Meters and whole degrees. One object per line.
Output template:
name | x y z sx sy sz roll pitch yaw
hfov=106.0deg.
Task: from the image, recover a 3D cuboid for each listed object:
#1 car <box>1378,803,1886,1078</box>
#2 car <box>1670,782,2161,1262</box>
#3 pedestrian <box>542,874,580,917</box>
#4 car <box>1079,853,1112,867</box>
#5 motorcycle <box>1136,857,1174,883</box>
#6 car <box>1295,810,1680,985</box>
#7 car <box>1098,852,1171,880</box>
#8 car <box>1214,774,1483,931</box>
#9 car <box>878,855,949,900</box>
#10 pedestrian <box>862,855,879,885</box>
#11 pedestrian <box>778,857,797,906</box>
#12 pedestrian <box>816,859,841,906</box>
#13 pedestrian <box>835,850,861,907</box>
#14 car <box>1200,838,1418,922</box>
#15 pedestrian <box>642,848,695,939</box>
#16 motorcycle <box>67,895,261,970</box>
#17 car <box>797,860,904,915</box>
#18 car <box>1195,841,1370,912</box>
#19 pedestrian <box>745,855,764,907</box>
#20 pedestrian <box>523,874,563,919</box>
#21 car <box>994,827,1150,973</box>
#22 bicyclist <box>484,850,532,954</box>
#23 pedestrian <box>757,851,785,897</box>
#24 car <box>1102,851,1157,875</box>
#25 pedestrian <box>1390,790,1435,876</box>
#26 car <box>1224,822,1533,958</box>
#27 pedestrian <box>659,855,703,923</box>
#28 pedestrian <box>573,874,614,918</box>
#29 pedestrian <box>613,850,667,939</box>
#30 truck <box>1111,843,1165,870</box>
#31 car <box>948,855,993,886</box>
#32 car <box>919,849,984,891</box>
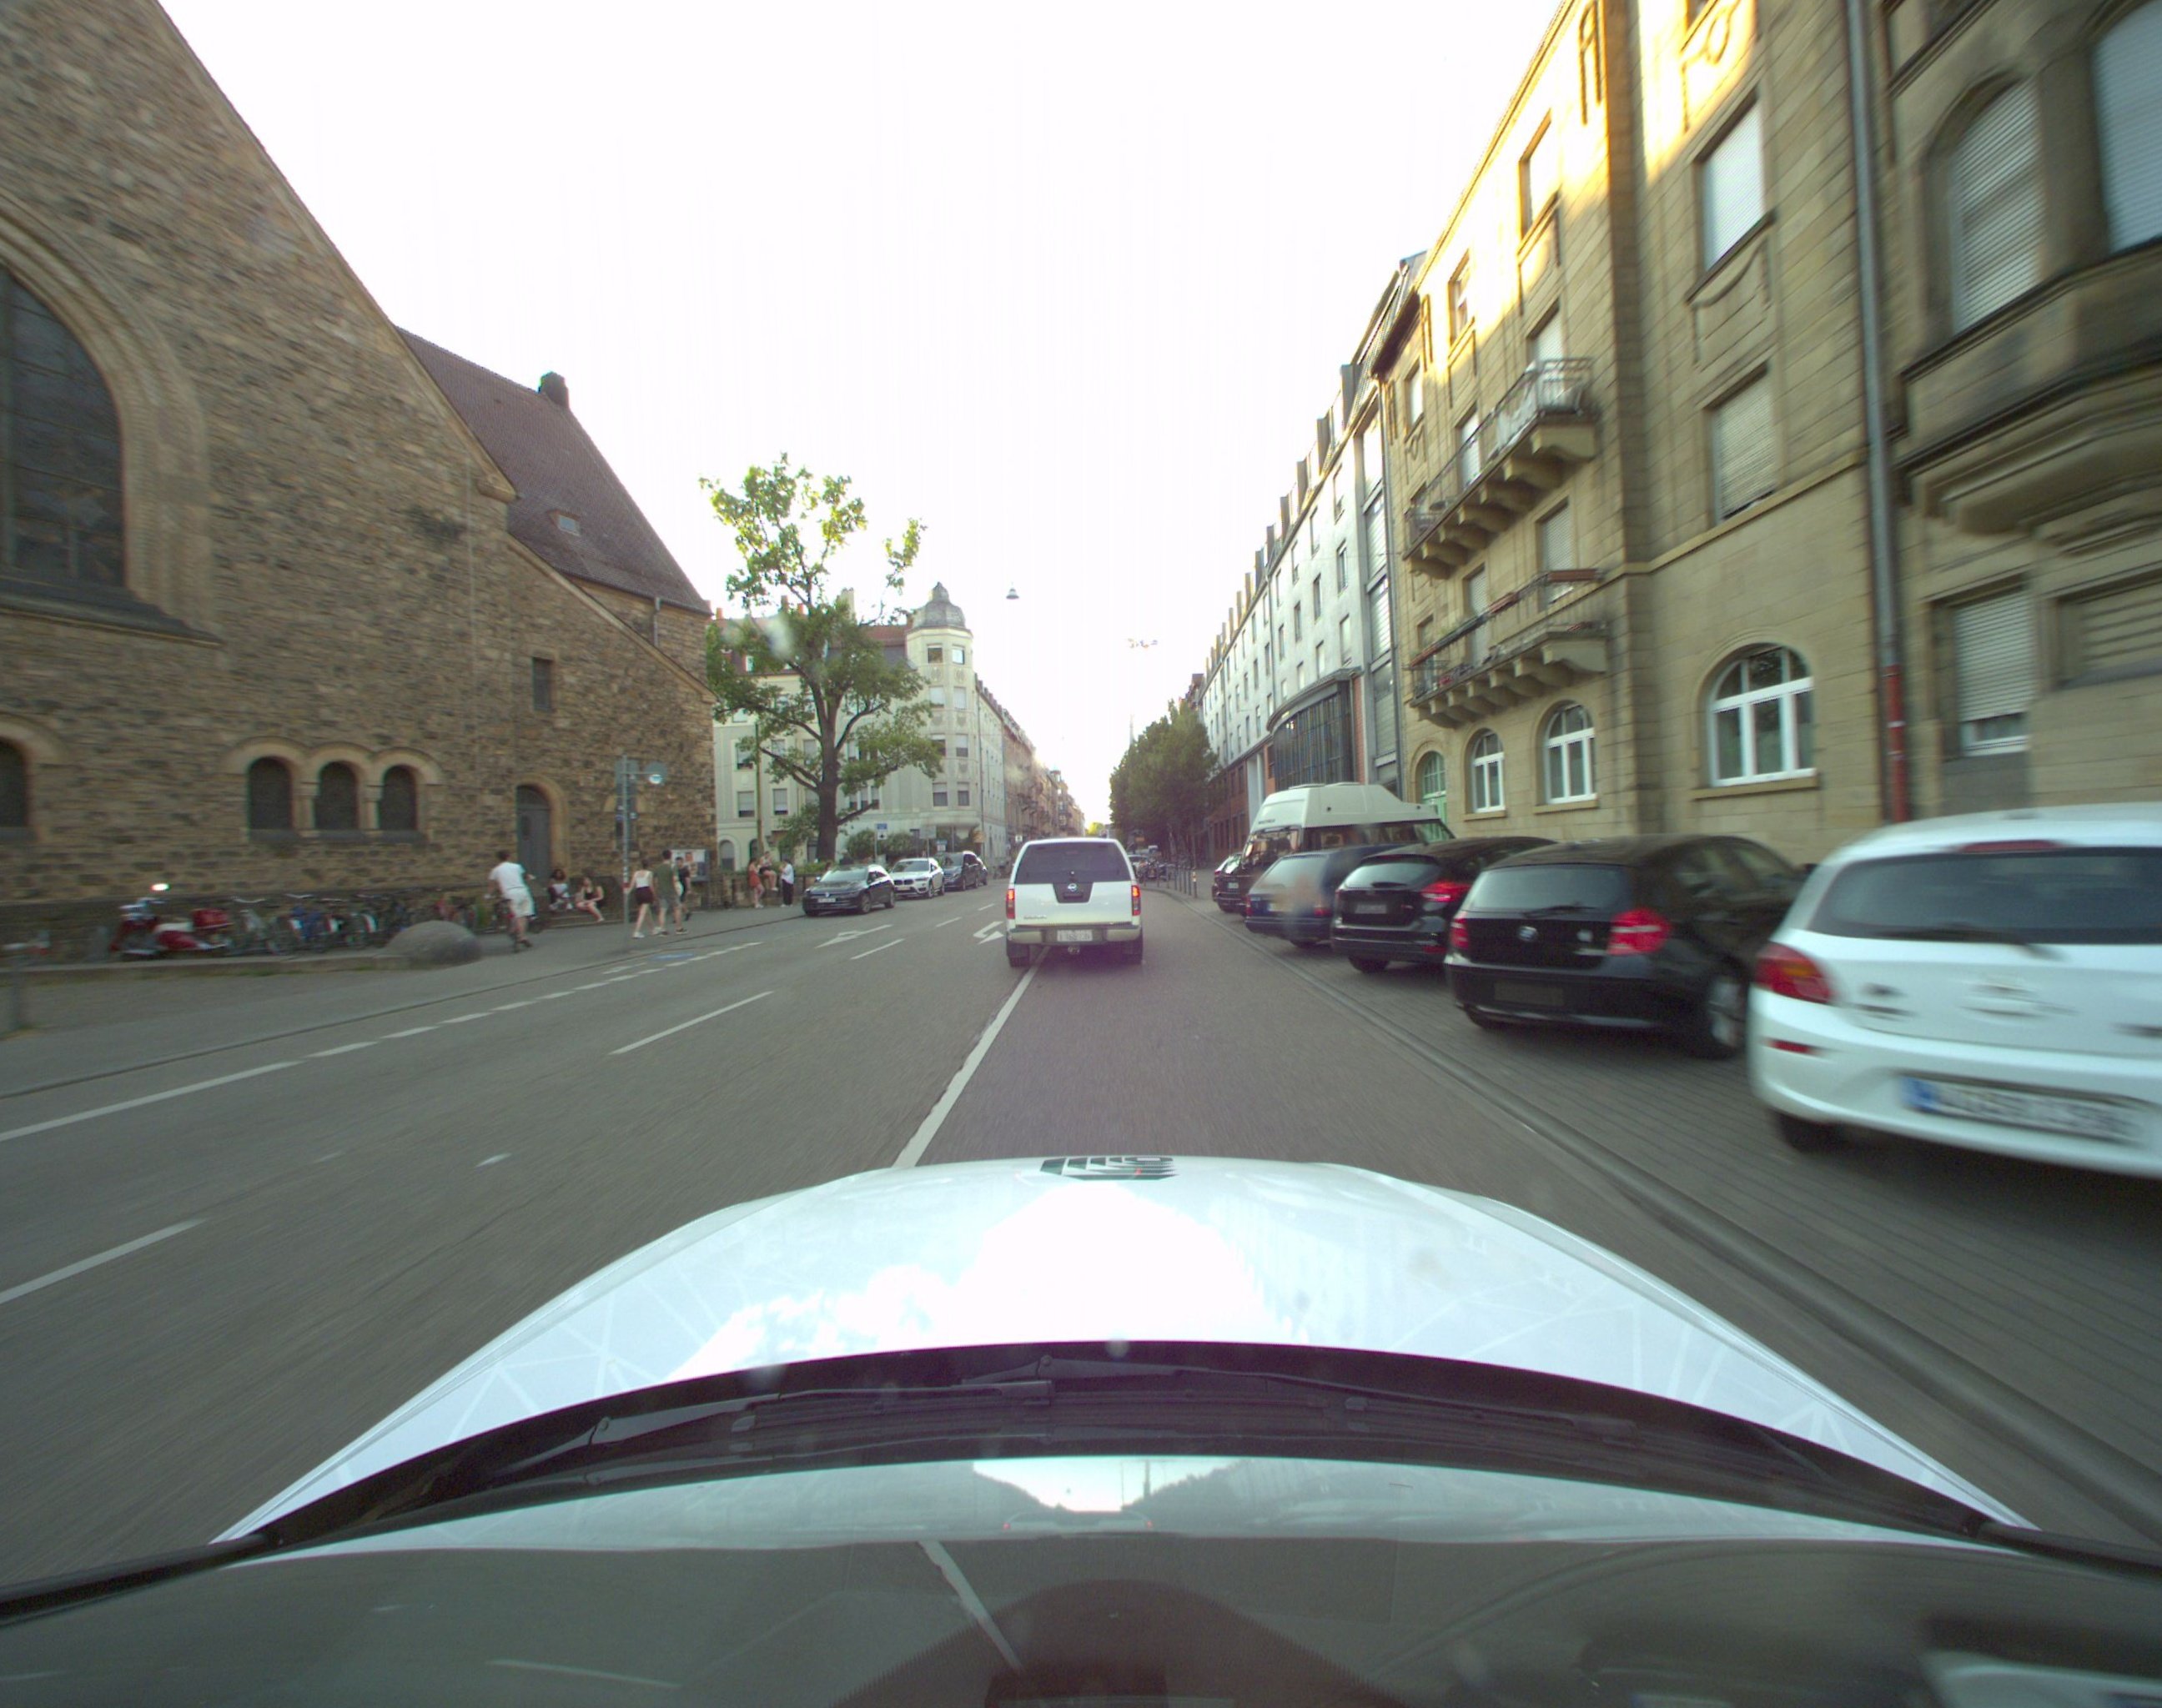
car | 4.521 0.471 6.542 4.050 1.431 1.849 -5 0 -33
car | 4.879 0.447 4.075 4.074 1.498 1.735 -4 0 -34
pedestrian | -13.109 1.036 20.531 0.493 1.048 0.611 -2 0 22
car | 1.967 0.817 108.773 4.172 1.780 1.823 -1 0 7
motorcycle | 3.562 0.746 39.087 1.643 1.101 0.645 -5 0 -7
car | 4.751 0.420 9.475 4.130 1.546 1.779 -3 -2 -26
car | 3.229 0.703 48.790 4.009 1.506 1.754 -2 0 -28
car | 5.008 -0.067 15.131 4.737 2.547 1.901 -2 -1 -28
car | -6.678 0.894 32.988 1.865 1.592 4.469 -2 0 1
pedestrian | -12.611 0.962 48.769 0.704 1.721 0.837 -3 0 0
pedestrian | -9.922 0.918 27.557 0.417 1.622 0.542 -1 -1 -38
pedestrian | -8.604 0.962 27.758 0.580 1.552 0.839 -1 0 -1
pedestrian | -7.967 0.828 27.874 0.580 1.905 0.803 -2 0 -1
car | 4.959 0.504 17.654 4.365 1.502 1.897 -2 0 -26
pedestrian | -8.878 0.835 17.548 0.645 1.879 0.891 -2 0 -1
motorcycle | -14.866 1.248 13.237 2.403 1.126 0.823 0 0 5
car | -6.928 0.962 24.977 1.775 1.435 4.320 -2 0 3
car | 4.980 0.507 20.035 4.081 1.492 1.707 -2 0 -29
pedestrian | -10.878 0.896 27.144 0.417 1.674 0.542 -1 -1 -38
pedestrian | -13.073 1.019 19.804 0.741 1.048 0.515 -2 0 -28
car | -0.049 0.599 12.496 1.926 1.794 4.623 -1 -1 2
bicyclist | -10.763 0.870 15.314 0.711 1.880 0.932 -1 0 -34
pedestrian | -10.650 0.685 27.968 0.644 1.545 0.589 -2 0 25
car | 3.548 0.684 59.453 3.618 1.580 1.699 -2 0 -31
pedestrian | 8.188 -0.519 20.158 0.604 2.013 0.858 6 1 4
car | 4.512 0.444 12.211 4.411 1.486 1.826 -5 0 -29
pedestrian | -10.526 0.913 21.452 0.711 1.725 0.692 -2 0 3
pedestrian | -12.356 1.058 20.658 0.512 1.056 0.703 -2 0 19
pedestrian | -9.497 0.845 17.568 0.571 1.856 0.988 -2 0 -1
truck | 6.860 0.342 98.253 6.293 2.977 2.266 -1 -3 3
car | -6.087 0.876 45.235 1.633 1.555 4.009 -2 0 4
car | -6.273 0.741 40.105 1.985 1.866 5.294 -2 0 4
